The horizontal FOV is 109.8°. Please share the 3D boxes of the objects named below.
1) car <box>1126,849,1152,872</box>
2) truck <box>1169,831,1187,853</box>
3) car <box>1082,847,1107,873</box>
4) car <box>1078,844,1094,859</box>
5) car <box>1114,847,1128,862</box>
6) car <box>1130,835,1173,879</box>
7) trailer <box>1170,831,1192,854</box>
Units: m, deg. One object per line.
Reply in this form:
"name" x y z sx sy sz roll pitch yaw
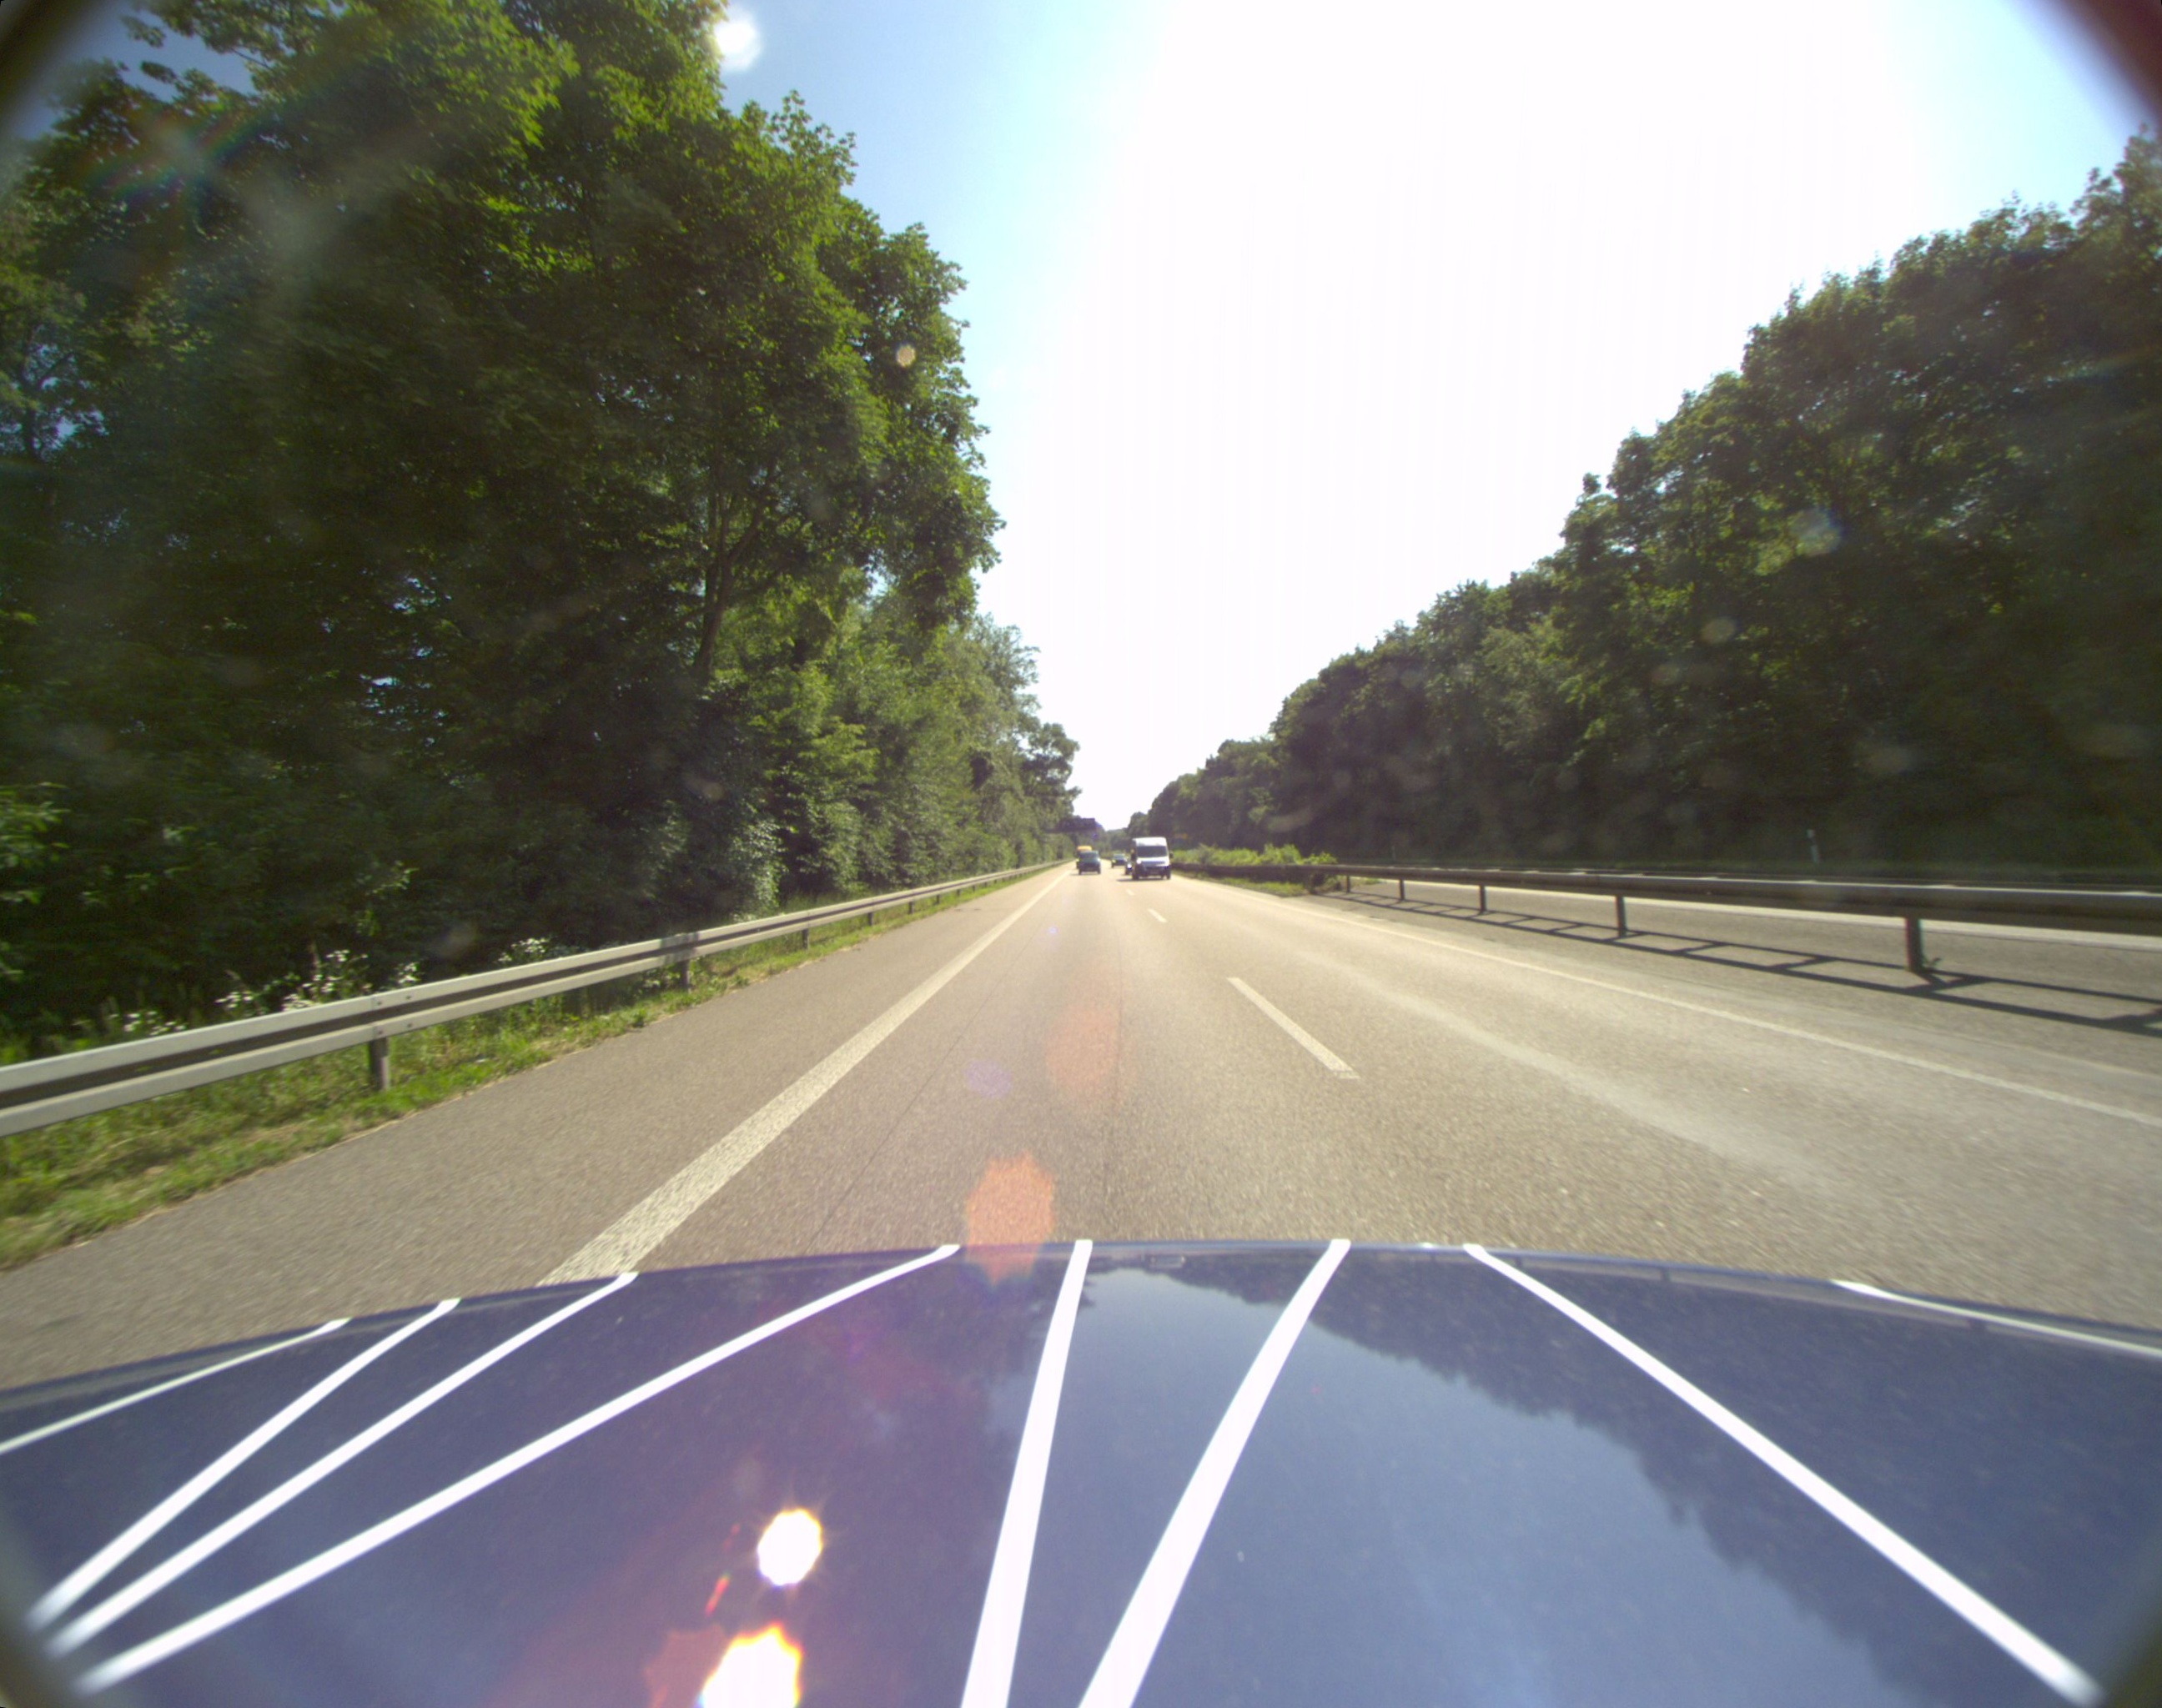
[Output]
"car" 4.380 0.494 57.581 1.666 1.624 3.644 -2 1 1
"truck" 16.975 -2.028 133.268 2.652 3.684 4.000 -2 1 1
"car" 1.072 0.458 60.968 1.812 1.921 4.581 -2 1 0
"car" 0.614 -0.334 90.197 1.737 1.624 3.899 -2 1 1
"car" 4.657 0.022 88.740 1.517 1.624 3.611 -2 1 1
"car" 4.140 0.162 45.406 2.046 2.429 4.637 -2 1 0
"trailer" 16.932 -1.983 128.689 2.695 3.690 7.984 -2 1 1
